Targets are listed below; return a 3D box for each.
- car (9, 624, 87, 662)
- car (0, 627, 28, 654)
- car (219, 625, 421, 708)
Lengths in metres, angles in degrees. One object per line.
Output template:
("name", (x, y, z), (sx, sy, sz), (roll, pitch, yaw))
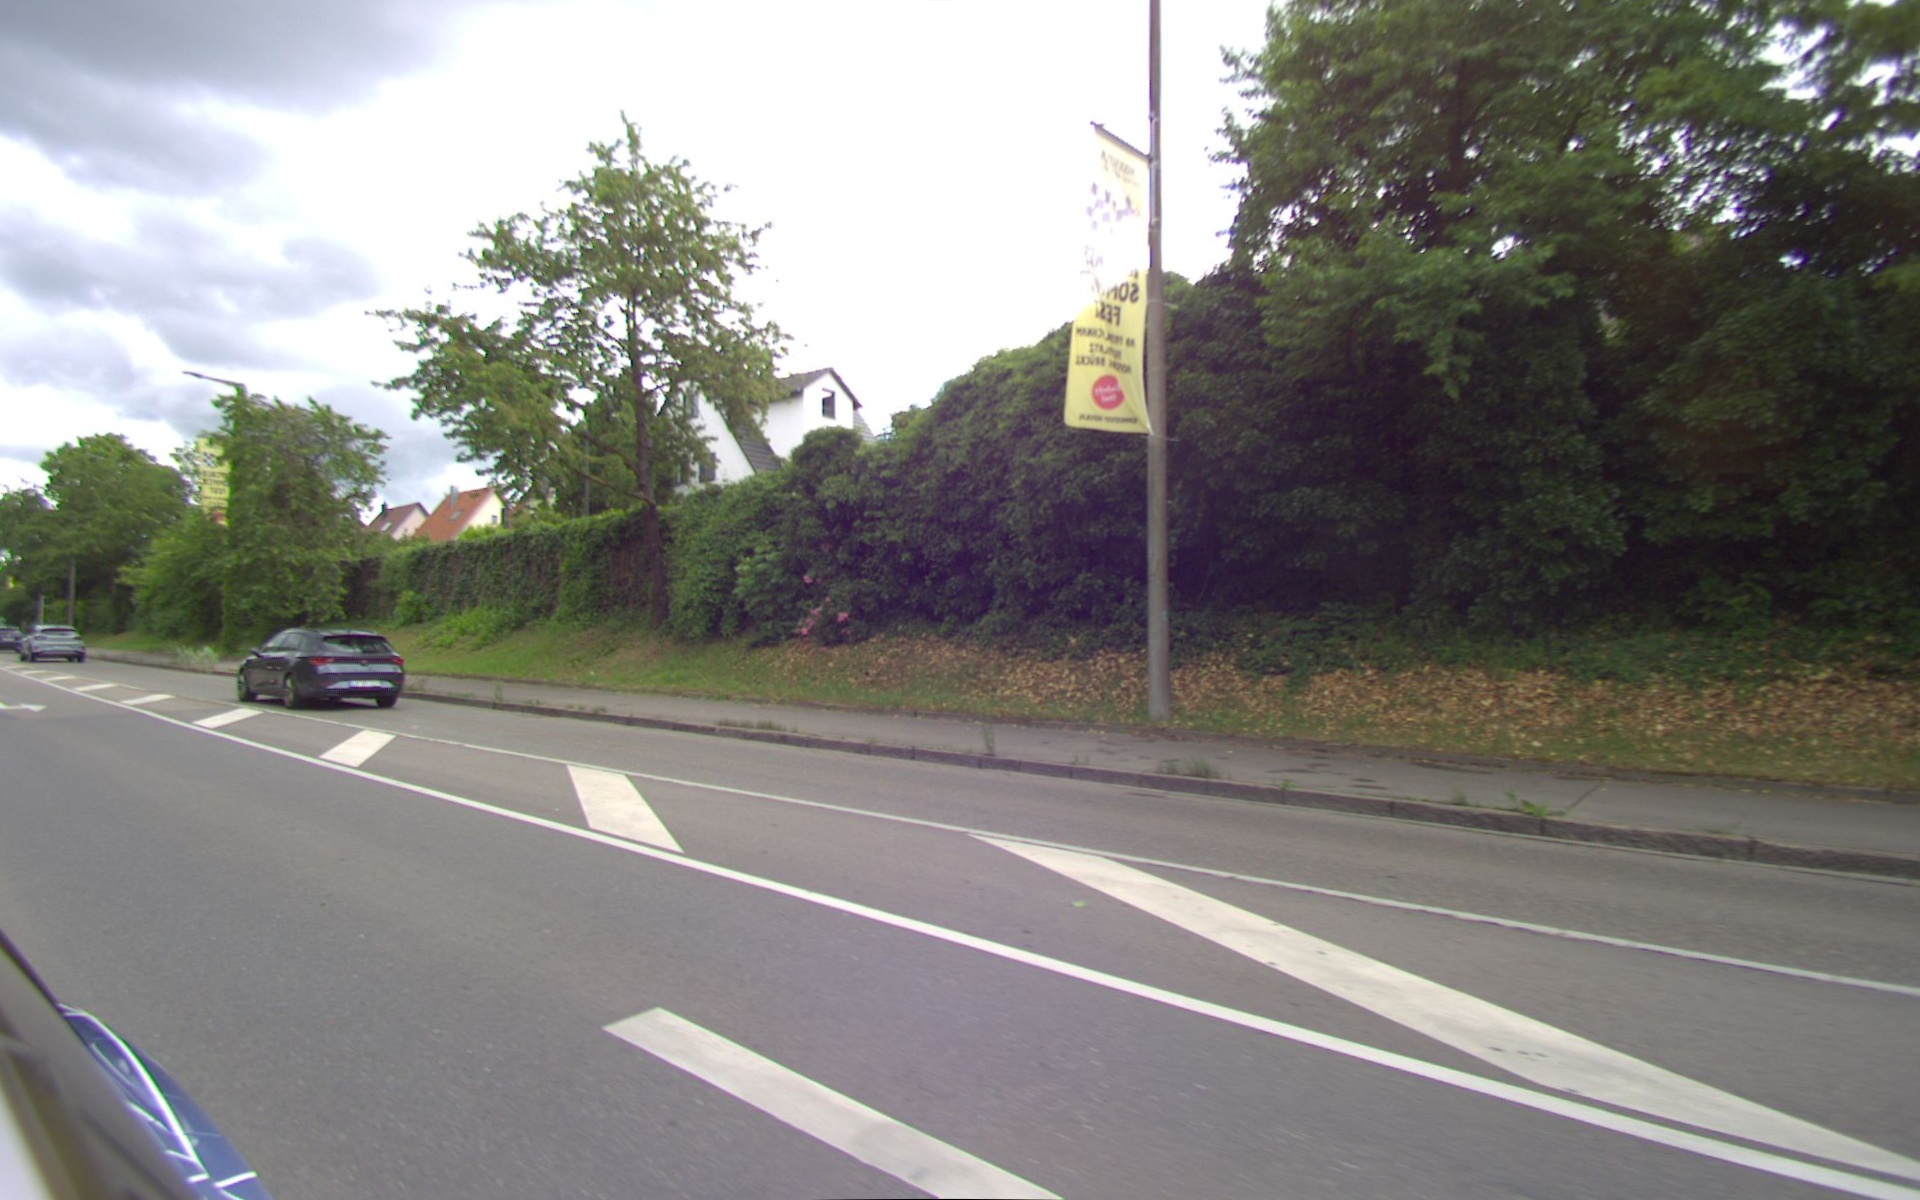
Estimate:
("car", (-37.830, 1.762, 41.948), (4.140, 1.468, 1.807), (-1, -4, 41))
("car", (-52.907, 2.216, 55.772), (4.213, 1.411, 1.747), (-1, -4, 41))
("car", (-12.144, 1.206, 19.105), (4.442, 1.386, 1.823), (-1, -4, 39))
